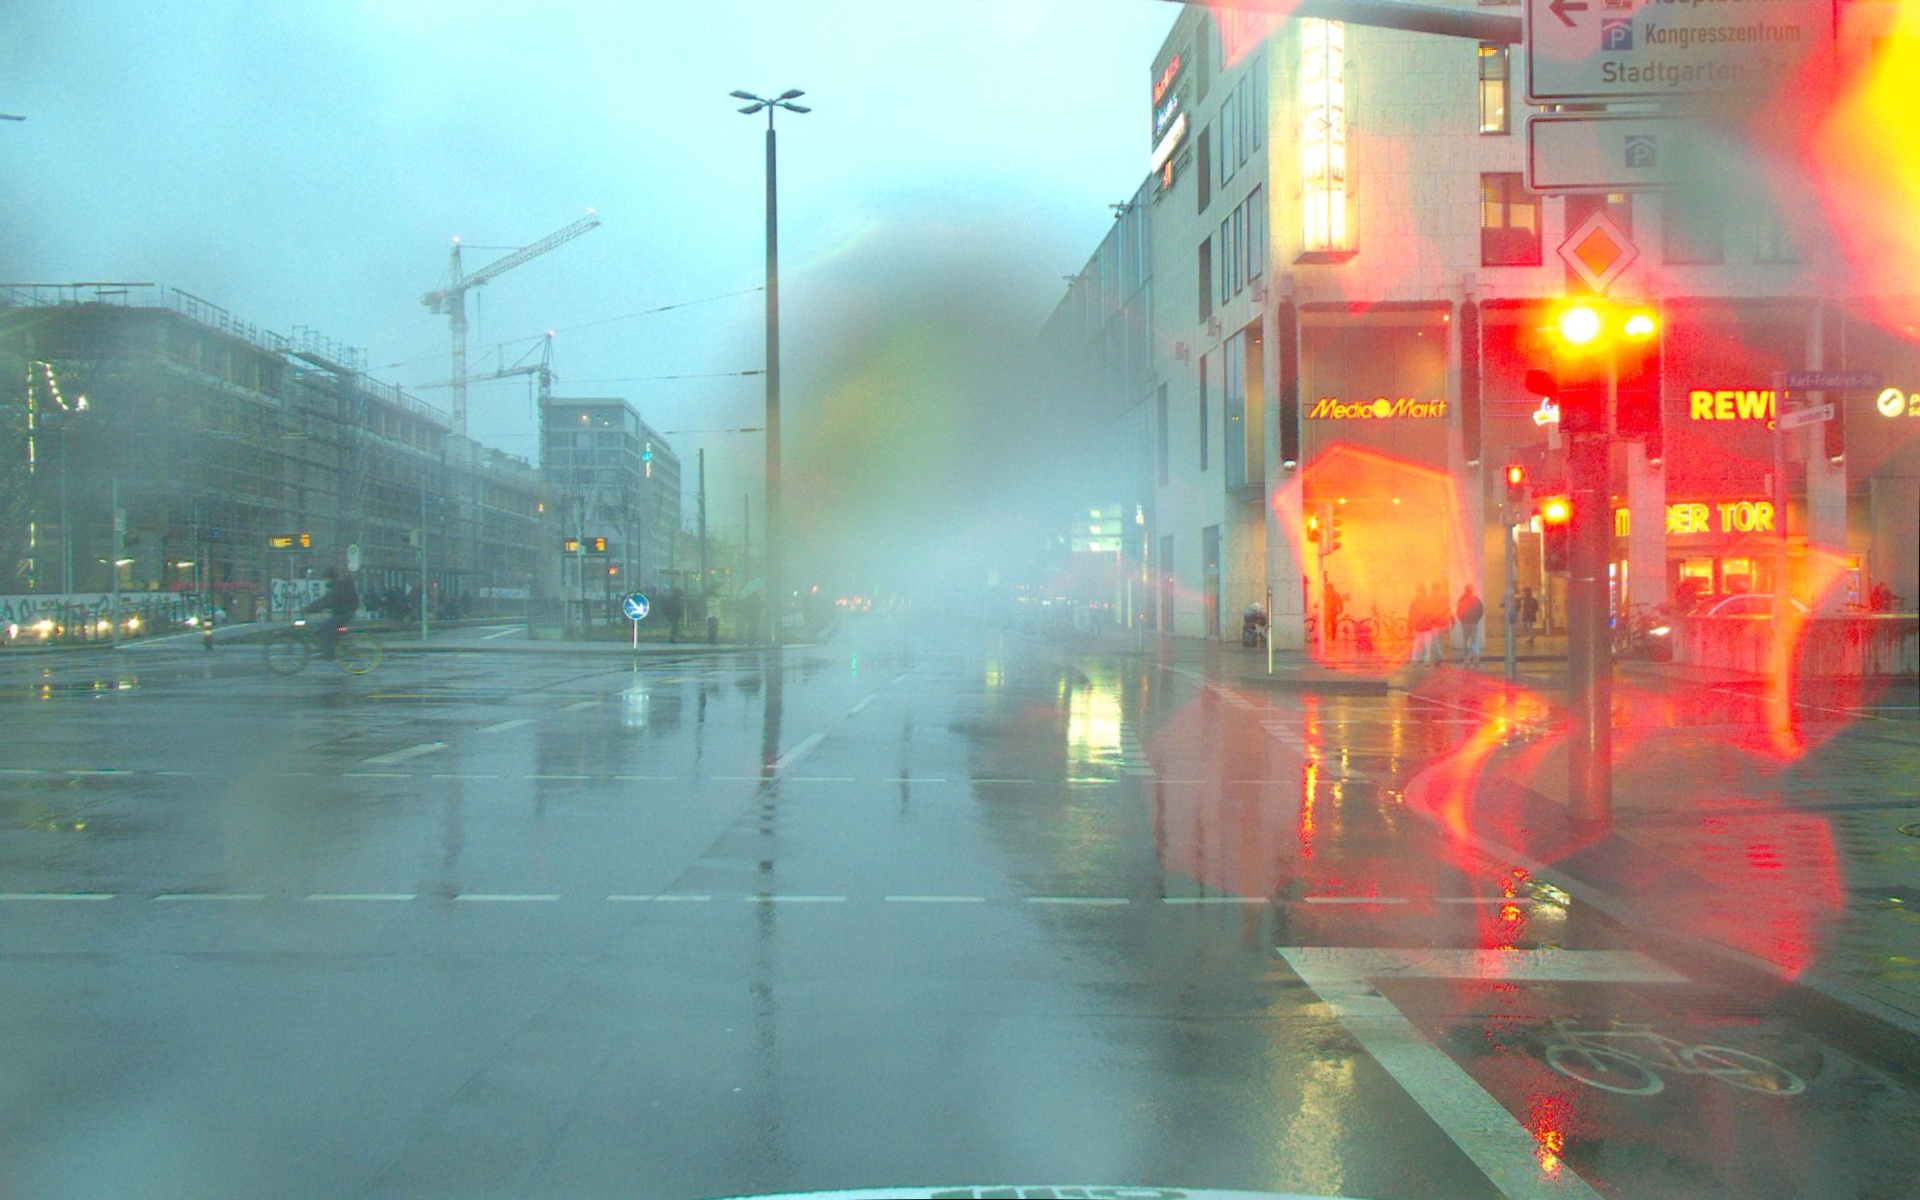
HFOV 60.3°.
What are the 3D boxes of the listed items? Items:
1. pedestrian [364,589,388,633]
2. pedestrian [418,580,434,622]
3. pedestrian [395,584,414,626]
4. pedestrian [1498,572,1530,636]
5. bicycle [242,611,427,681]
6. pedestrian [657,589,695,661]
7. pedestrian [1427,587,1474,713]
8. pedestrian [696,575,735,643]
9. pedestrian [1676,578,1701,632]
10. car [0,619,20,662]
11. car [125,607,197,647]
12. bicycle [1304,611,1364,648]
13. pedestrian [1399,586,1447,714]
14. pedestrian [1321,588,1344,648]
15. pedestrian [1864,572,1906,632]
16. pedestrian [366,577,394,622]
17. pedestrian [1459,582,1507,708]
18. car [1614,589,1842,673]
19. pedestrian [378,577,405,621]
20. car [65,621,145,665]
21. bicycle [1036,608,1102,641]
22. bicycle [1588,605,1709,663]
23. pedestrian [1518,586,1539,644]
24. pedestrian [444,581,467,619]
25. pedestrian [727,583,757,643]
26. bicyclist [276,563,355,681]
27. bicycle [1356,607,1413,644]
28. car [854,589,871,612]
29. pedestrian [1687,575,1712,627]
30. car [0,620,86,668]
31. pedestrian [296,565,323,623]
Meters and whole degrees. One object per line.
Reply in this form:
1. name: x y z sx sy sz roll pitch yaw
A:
1. pedestrian: -25.750 0.479 72.966 0.750 1.931 0.762 1 -2 -1
2. pedestrian: -25.954 0.038 80.411 0.559 2.002 0.664 2 -1 -7
3. pedestrian: -25.606 0.248 76.228 0.684 1.913 0.553 1 -1 -2
4. pedestrian: 17.797 0.132 53.151 0.828 2.049 0.698 -1 0 8
5. bicycle: -10.347 0.770 27.483 2.813 1.118 0.741 1 0 -19
6. pedestrian: -8.115 0.713 47.259 0.771 2.049 0.724 0 -1 41
7. pedestrian: 9.813 0.983 33.100 0.675 2.484 0.758 1 -1 -1
8. pedestrian: -6.840 0.259 46.290 0.813 1.863 0.777 1 -1 -31
9. pedestrian: 23.264 0.165 52.833 0.603 1.714 0.366 -1 0 -5
10. car: -36.409 1.517 60.532 2.038 1.557 4.604 -1 0 -10
11. car: -38.354 1.259 79.459 1.956 1.822 3.992 1 0 -9
12. bicycle: 11.412 0.887 50.488 1.729 1.088 0.525 1 -1 7
13. pedestrian: 9.135 0.970 32.646 0.700 2.484 0.758 1 -1 -1
14. pedestrian: 11.261 0.542 49.991 0.587 1.775 0.525 1 -1 7
15. pedestrian: 26.868 0.066 48.038 0.875 1.714 0.528 -1 -1 -1
16. pedestrian: -26.739 -0.034 76.253 0.923 2.049 1.093 1 -1 -3
17. pedestrian: 10.497 0.899 33.231 0.679 2.491 0.791 1 -1 -1
18. car: 16.217 0.641 35.076 3.905 1.646 2.000 1 0 0
19. pedestrian: -26.881 -0.028 78.251 0.923 2.049 1.093 1 -1 -3
20. car: -38.137 1.892 73.894 1.956 1.822 3.992 1 0 -9
21. bicycle: 4.044 0.905 61.664 2.393 1.174 0.674 -1 -1 -2
22. bicycle: 17.198 0.840 41.348 2.659 1.383 0.957 -1 -1 -4
23. pedestrian: 16.591 0.437 48.262 0.476 1.692 0.457 -1 -1 30
24. pedestrian: -27.685 0.012 90.849 0.923 2.049 1.093 1 -1 -3
25. pedestrian: -6.312 0.385 47.877 0.601 1.715 0.575 0 -1 41
26. bicyclist: -10.652 0.364 27.379 1.139 1.904 0.741 1 -1 -19
27. bicycle: 13.093 0.780 50.992 1.614 1.088 0.524 1 -1 -5
28. car: -8.949 0.033 152.297 1.546 2.049 3.169 -1 0 -3
29. pedestrian: 25.173 0.044 56.304 0.721 1.748 0.738 -1 -1 27
30. car: -37.186 1.756 67.022 1.830 1.860 3.993 1 0 -8
31. pedestrian: -26.860 -0.232 68.267 0.750 2.364 0.762 1 -2 -1
